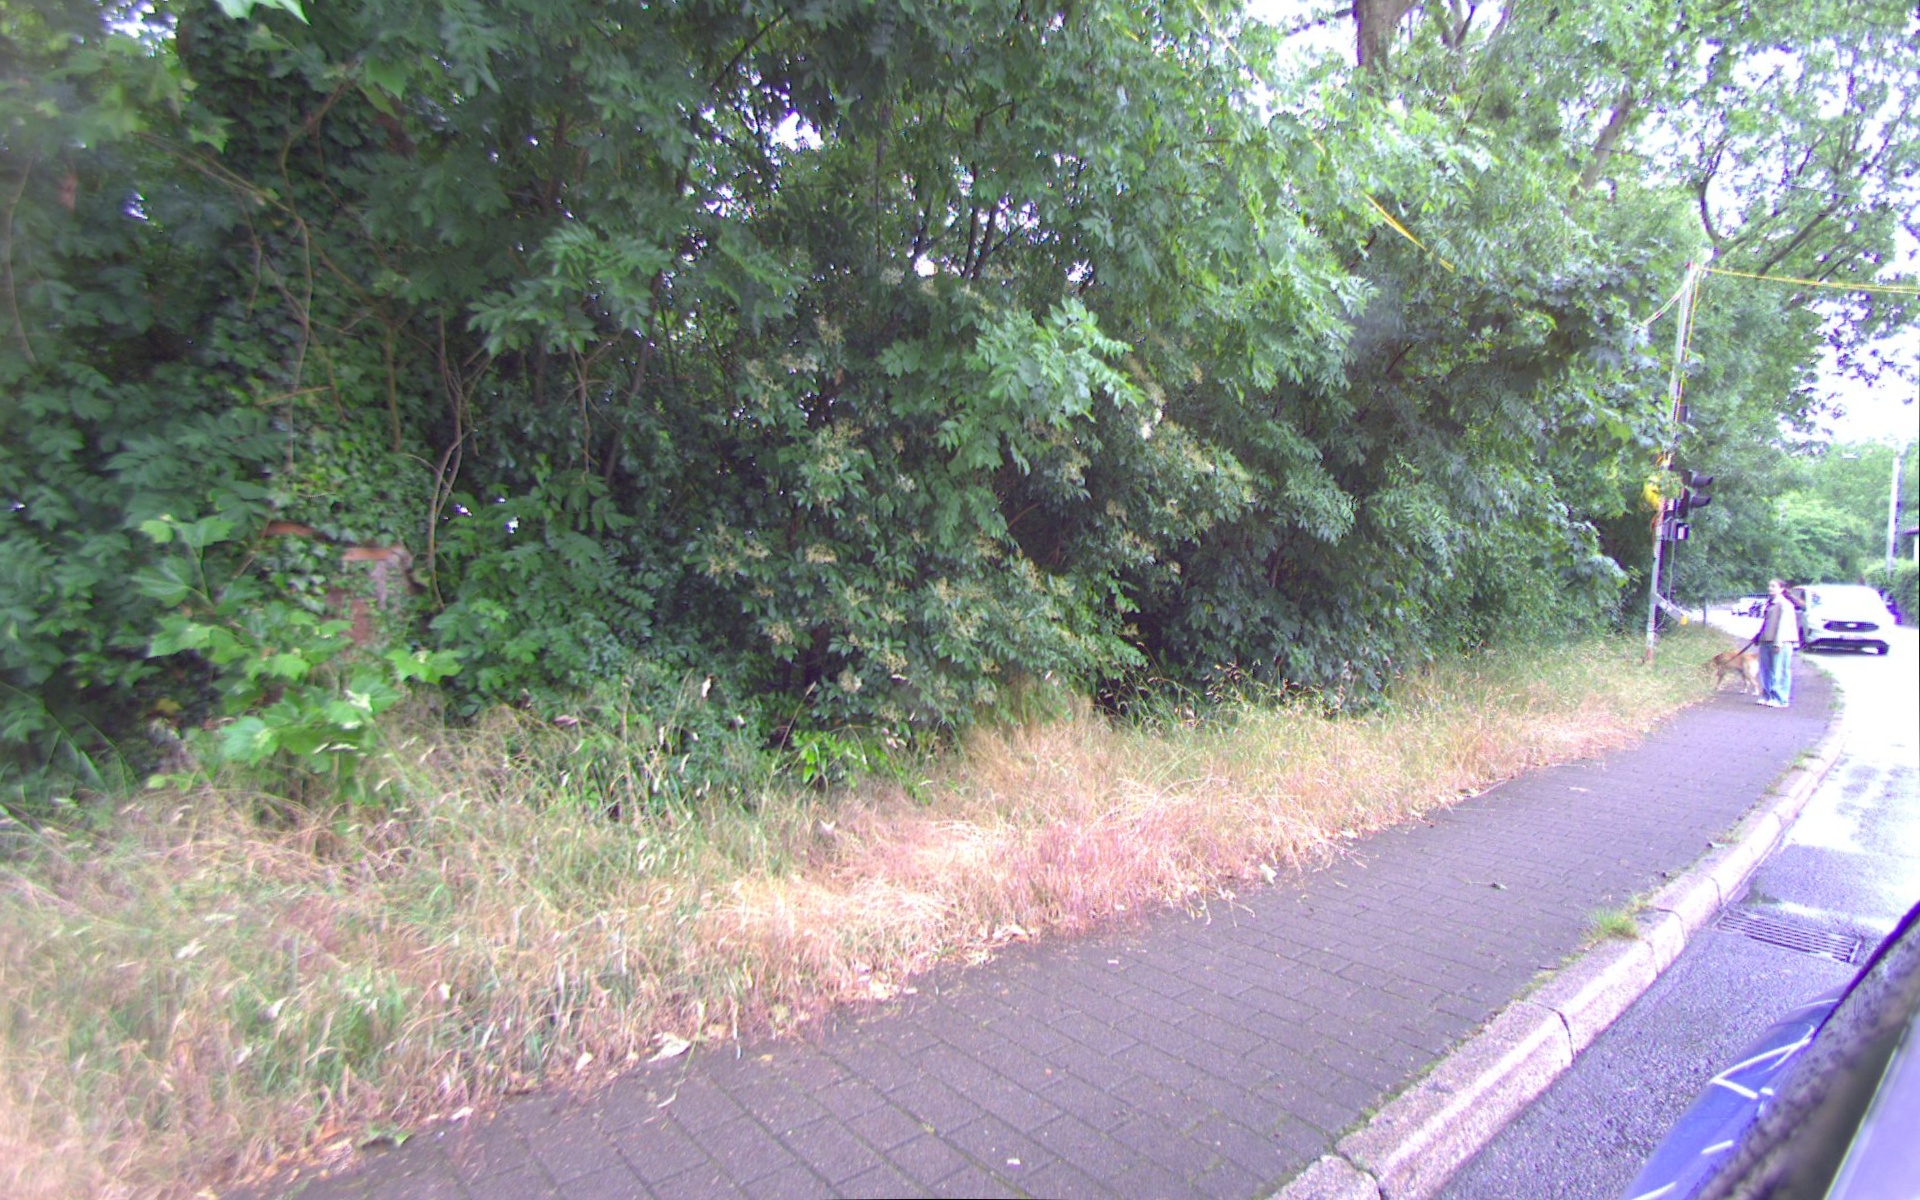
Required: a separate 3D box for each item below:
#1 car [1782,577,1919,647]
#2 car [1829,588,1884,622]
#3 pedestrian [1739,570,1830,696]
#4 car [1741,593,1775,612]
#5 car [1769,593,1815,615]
[{"bbox_3d":[26.708,0.302,30.550,2.085,1.943,5.037,0,0,30],"label":"car"},{"bbox_3d":[51.054,0.270,57.703,1.869,1.848,4.075,1,1,35],"label":"car"},{"bbox_3d":[10.503,0.400,12.898,0.771,1.517,0.734,0,2,-42],"label":"pedestrian"},{"bbox_3d":[64.936,0.203,82.368,1.676,1.445,3.734,1,1,31],"label":"car"},{"bbox_3d":[60.742,0.282,73.915,2.055,1.504,4.509,1,1,33],"label":"car"}]
